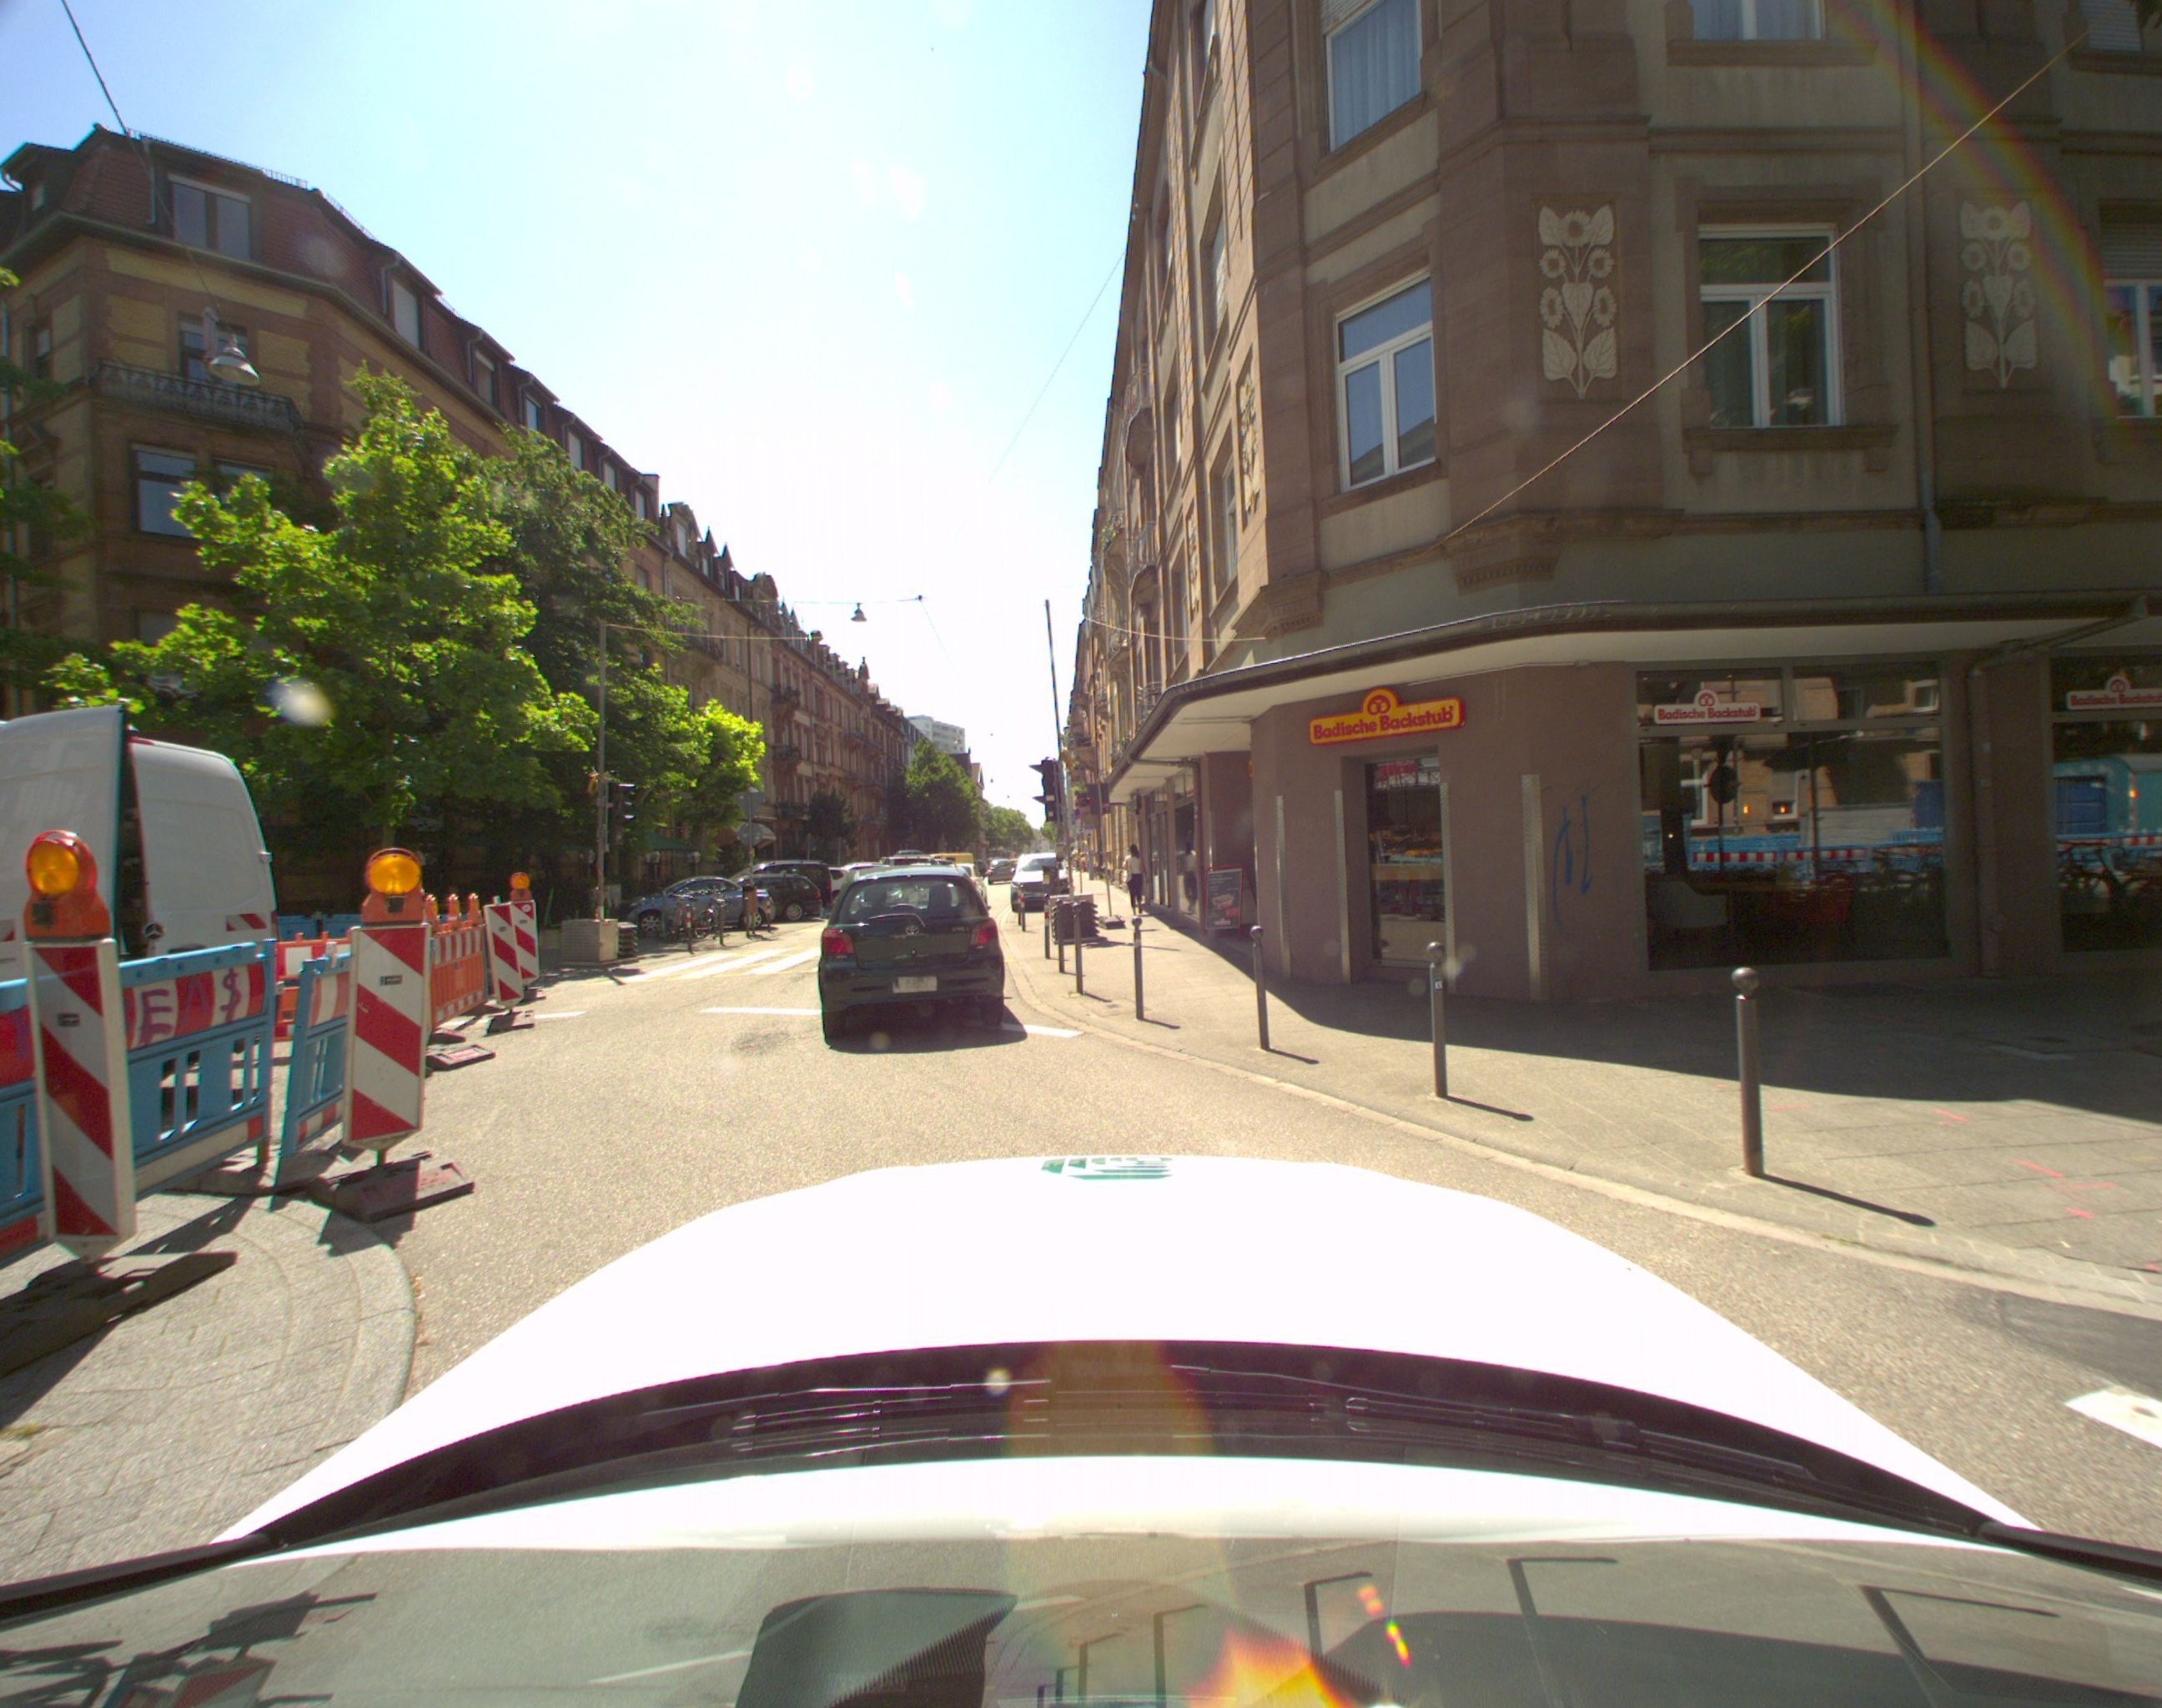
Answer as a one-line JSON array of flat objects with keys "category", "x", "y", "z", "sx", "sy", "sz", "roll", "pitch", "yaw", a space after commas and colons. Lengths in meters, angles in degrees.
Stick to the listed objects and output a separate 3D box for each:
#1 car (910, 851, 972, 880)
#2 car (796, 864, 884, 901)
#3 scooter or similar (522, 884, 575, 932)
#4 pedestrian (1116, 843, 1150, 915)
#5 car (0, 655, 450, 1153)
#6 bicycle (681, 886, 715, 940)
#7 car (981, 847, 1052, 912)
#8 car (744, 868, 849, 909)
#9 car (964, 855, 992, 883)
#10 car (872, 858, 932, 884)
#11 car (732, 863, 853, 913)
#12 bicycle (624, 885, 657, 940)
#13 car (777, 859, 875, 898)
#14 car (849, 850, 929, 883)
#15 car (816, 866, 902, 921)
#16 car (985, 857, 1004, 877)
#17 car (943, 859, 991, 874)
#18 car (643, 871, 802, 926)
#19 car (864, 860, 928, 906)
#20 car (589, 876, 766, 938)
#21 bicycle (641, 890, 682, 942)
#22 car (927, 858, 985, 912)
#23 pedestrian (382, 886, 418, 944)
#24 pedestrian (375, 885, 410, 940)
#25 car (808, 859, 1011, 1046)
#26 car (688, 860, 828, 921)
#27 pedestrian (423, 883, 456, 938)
[{"category": "car", "x": -11.465, "y": 0.915, "z": 66.941, "sx": 4.588, "sy": 2.187, "sz": 1.980, "roll": -2, "pitch": 0, "yaw": -31}, {"category": "car", "x": -12.130, "y": 1.396, "z": 41.044, "sx": 3.932, "sy": 1.619, "sz": 1.849, "roll": -2, "pitch": 0, "yaw": -27}, {"category": "scooter or similar", "x": -13.774, "y": 1.379, "z": 21.096, "sx": 0.276, "sy": 1.120, "sz": 1.472, "roll": 0, "pitch": 0, "yaw": 5}, {"category": "pedestrian", "x": 1.206, "y": 0.565, "z": 19.094, "sx": 0.640, "sy": 1.623, "sz": 0.803, "roll": -2, "pitch": 0, "yaw": -3}, {"category": "car", "x": -8.692, "y": 0.451, "z": 5.634, "sx": 6.604, "sy": 2.752, "sz": 2.378, "roll": -3, "pitch": -2, "yaw": -2}, {"category": "bicycle", "x": -9.158, "y": 1.375, "z": 19.510, "sx": 0.492, "sy": 1.173, "sz": 1.674, "roll": -1, "pitch": 0, "yaw": -18}, {"category": "car", "x": -1.928, "y": 0.724, "z": 25.139, "sx": 1.867, "sy": 1.713, "sz": 4.499, "roll": -4, "pitch": 0, "yaw": -3}, {"category": "car", "x": -11.092, "y": 1.309, "z": 31.771, "sx": 3.640, "sy": 1.458, "sz": 1.610, "roll": -1, "pitch": 0, "yaw": -29}, {"category": "car", "x": -6.424, "y": 0.895, "z": 51.033, "sx": 1.519, "sy": 1.592, "sz": 3.259, "roll": -2, "pitch": 0, "yaw": -4}, {"category": "car", "x": -13.149, "y": 1.206, "z": 59.968, "sx": 3.932, "sy": 1.708, "sz": 1.849, "roll": -2, "pitch": 0, "yaw": -27}, {"category": "car", "x": -10.558, "y": 1.206, "z": 29.864, "sx": 4.008, "sy": 1.658, "sz": 1.744, "roll": -1, "pitch": 0, "yaw": -27}, {"category": "bicycle", "x": -10.128, "y": 1.327, "z": 18.761, "sx": 0.338, "sy": 1.157, "sz": 1.611, "roll": -1, "pitch": 0, "yaw": -16}, {"category": "car", "x": -11.880, "y": 1.126, "z": 38.044, "sx": 3.946, "sy": 1.619, "sz": 1.843, "roll": -2, "pitch": 0, "yaw": -44}, {"category": "car", "x": -12.973, "y": 0.803, "z": 55.000, "sx": 4.806, "sy": 1.994, "sz": 2.032, "roll": -2, "pitch": 0, "yaw": -33}, {"category": "car", "x": -6.891, "y": 1.177, "z": 25.676, "sx": 1.751, "sy": 1.444, "sz": 3.995, "roll": -3, "pitch": 0, "yaw": -3}, {"category": "car", "x": -7.531, "y": 1.096, "z": 70.929, "sx": 1.520, "sy": 1.592, "sz": 3.258, "roll": -2, "pitch": 0, "yaw": -5}, {"category": "car", "x": -11.947, "y": 1.316, "z": 85.220, "sx": 4.588, "sy": 1.434, "sz": 1.980, "roll": -2, "pitch": 0, "yaw": -31}, {"category": "car", "x": -10.606, "y": 1.248, "z": 24.187, "sx": 4.017, "sy": 1.412, "sz": 1.950, "roll": -1, "pitch": 0, "yaw": -36}, {"category": "car", "x": -7.705, "y": 1.159, "z": 34.270, "sx": 1.751, "sy": 1.645, "sz": 4.372, "roll": -5, "pitch": 0, "yaw": -3}, {"category": "car", "x": -10.665, "y": 1.325, "z": 21.561, "sx": 4.015, "sy": 1.375, "sz": 1.979, "roll": -1, "pitch": 0, "yaw": -33}, {"category": "bicycle", "x": -9.761, "y": 1.411, "z": 19.007, "sx": 0.492, "sy": 1.081, "sz": 1.888, "roll": -1, "pitch": 0, "yaw": -16}, {"category": "car", "x": -3.950, "y": 0.943, "z": 26.094, "sx": 1.519, "sy": 1.521, "sz": 3.259, "roll": -2, "pitch": 0, "yaw": -4}, {"category": "pedestrian", "x": -15.075, "y": 1.338, "z": 18.035, "sx": 0.560, "sy": 1.220, "sz": 0.591, "roll": -2, "pitch": 0, "yaw": -38}, {"category": "pedestrian", "x": -15.919, "y": 1.343, "z": 18.845, "sx": 0.560, "sy": 1.220, "sz": 0.591, "roll": -2, "pitch": 0, "yaw": -38}, {"category": "car", "x": -1.933, "y": 0.817, "z": 8.438, "sx": 1.619, "sy": 1.485, "sz": 3.219, "roll": -1, "pitch": 0, "yaw": -20}, {"category": "car", "x": -10.586, "y": 1.125, "z": 26.799, "sx": 4.015, "sy": 1.804, "sz": 1.751, "roll": -1, "pitch": 0, "yaw": -33}, {"category": "pedestrian", "x": -15.036, "y": 1.318, "z": 19.098, "sx": 0.560, "sy": 1.220, "sz": 0.591, "roll": -2, "pitch": 0, "yaw": -38}]
